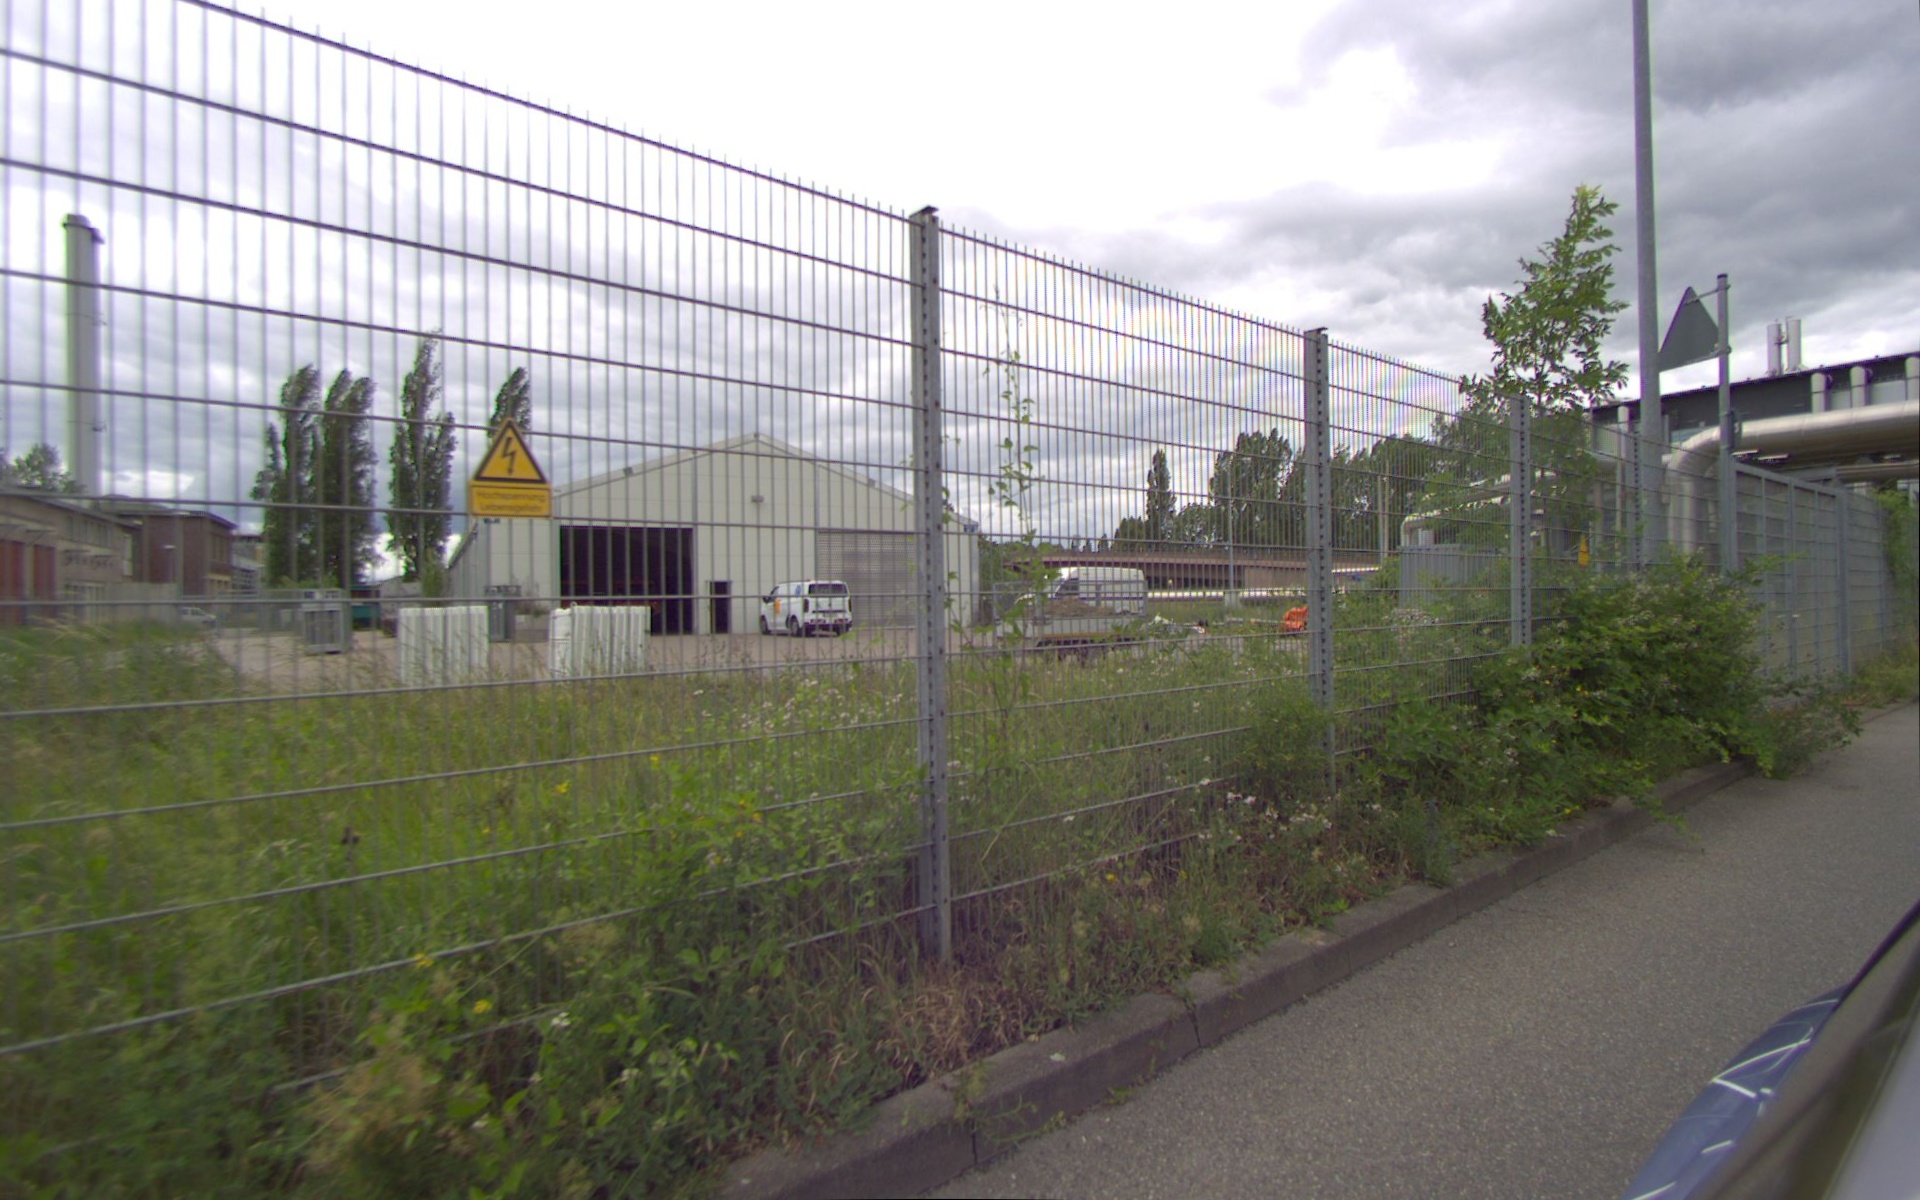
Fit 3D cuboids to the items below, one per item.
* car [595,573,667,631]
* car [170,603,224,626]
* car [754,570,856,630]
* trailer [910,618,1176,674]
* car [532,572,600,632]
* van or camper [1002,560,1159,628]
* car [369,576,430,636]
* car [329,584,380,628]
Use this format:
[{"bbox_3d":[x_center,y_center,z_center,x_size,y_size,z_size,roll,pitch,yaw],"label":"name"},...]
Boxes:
[{"bbox_3d":[-14.563,0.086,44.613,2.069,2.405,4.436,-1,0,-31],"label":"car"},{"bbox_3d":[-74.553,1.378,98.902,3.921,2.039,2.002,-3,1,-31],"label":"car"},{"bbox_3d":[-5.672,-0.005,36.647,1.962,2.039,4.340,-1,0,-34],"label":"car"},{"bbox_3d":[1.604,0.820,19.348,4.596,0.826,2.308,-1,0,-30],"label":"trailer"},{"bbox_3d":[-16.744,0.071,42.932,1.961,2.405,4.343,-1,0,-31],"label":"car"},{"bbox_3d":[4.949,-0.264,41.461,6.002,2.581,2.579,-1,0,-28],"label":"van or camper"},{"bbox_3d":[-26.360,0.265,47.695,2.368,2.680,5.356,-1,0,-28],"label":"car"},{"bbox_3d":[-38.062,0.360,63.719,2.444,2.680,5.356,-1,0,-28],"label":"car"}]
